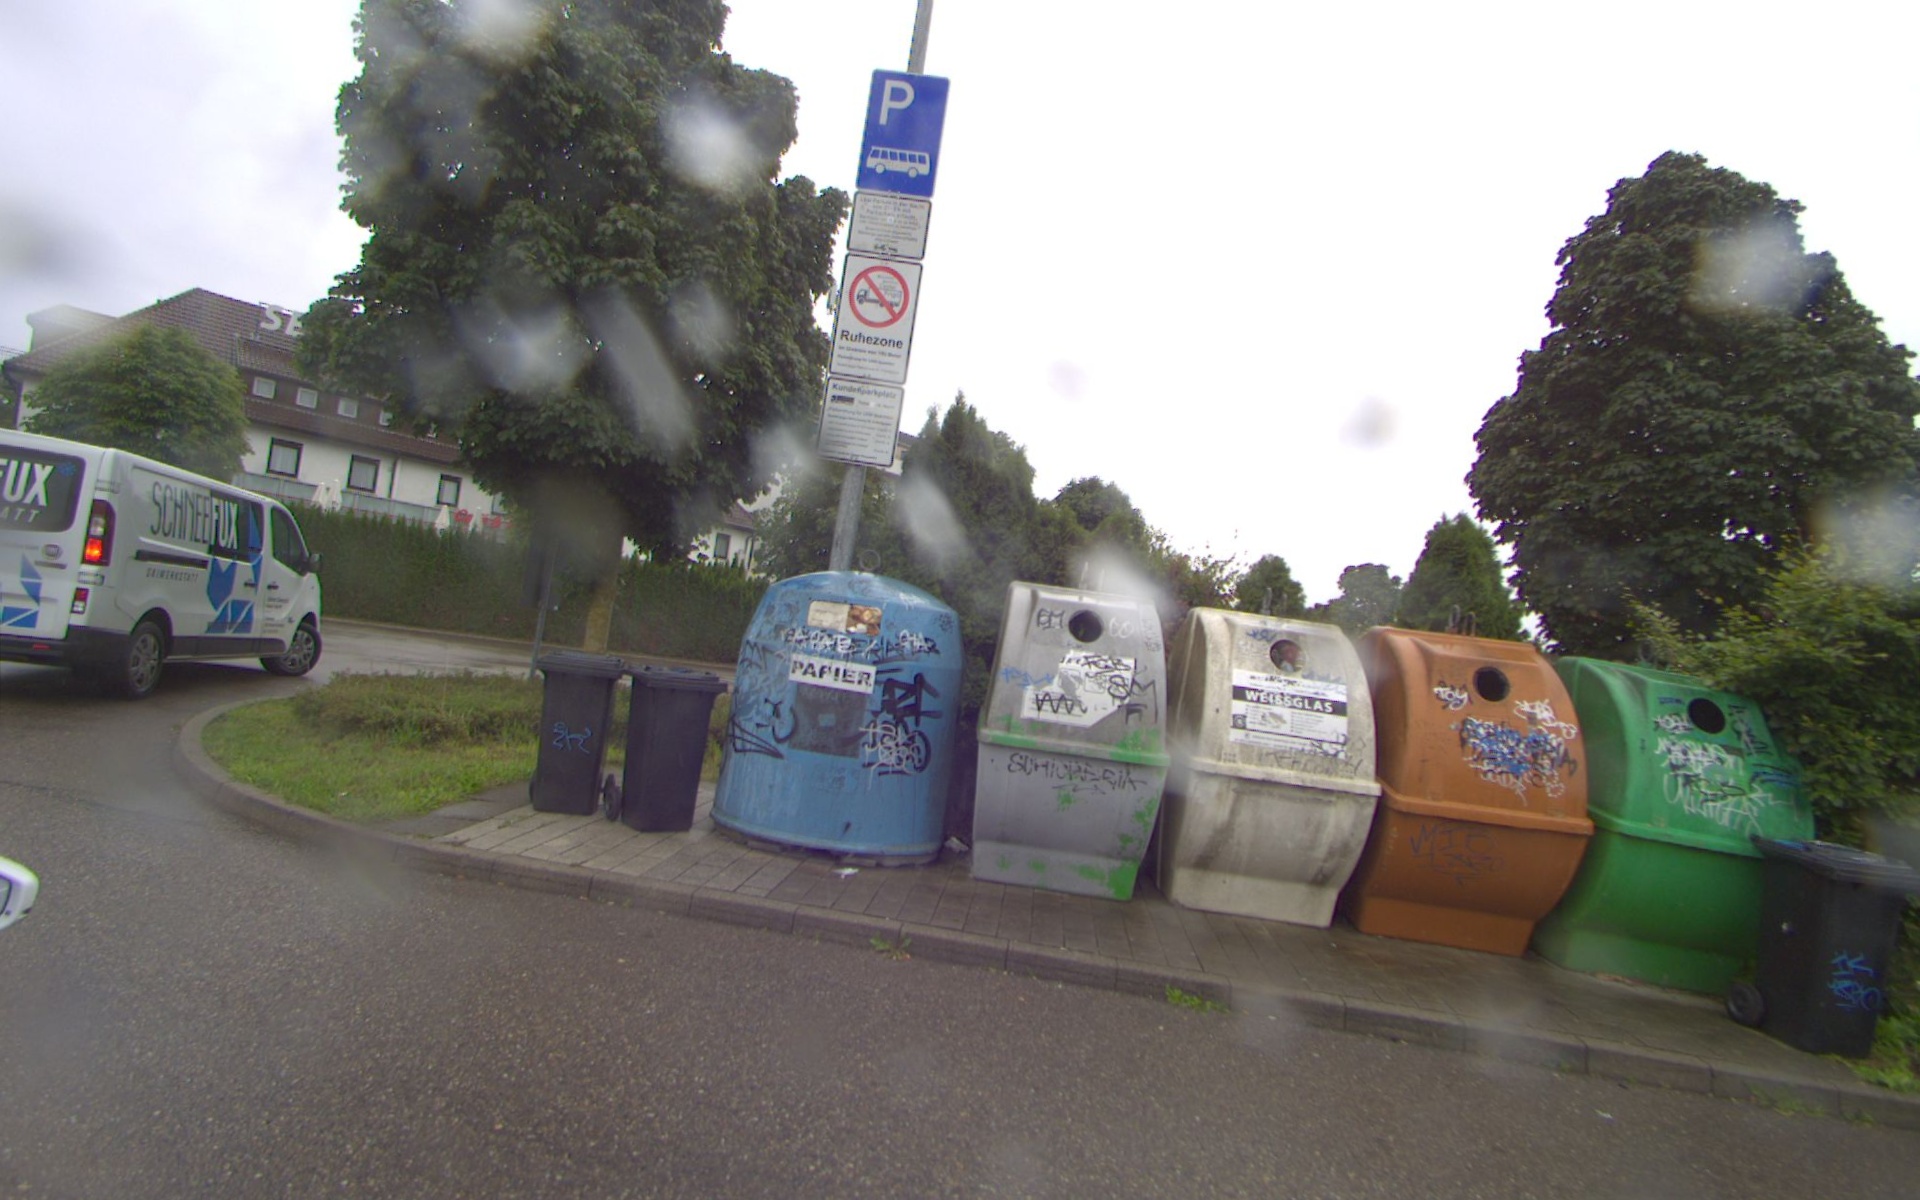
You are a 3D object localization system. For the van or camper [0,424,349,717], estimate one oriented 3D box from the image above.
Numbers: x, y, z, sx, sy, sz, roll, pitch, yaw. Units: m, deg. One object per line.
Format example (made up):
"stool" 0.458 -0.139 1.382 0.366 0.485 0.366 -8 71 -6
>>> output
"van or camper" -7.885 -0.296 9.386 2.162 1.966 5.184 9 -3 -15

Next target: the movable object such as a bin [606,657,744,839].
"movable object such as a bin" -1.625 0.829 5.757 0.480 0.928 0.449 7 0 28

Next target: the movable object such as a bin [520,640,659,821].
"movable object such as a bin" -2.153 0.744 5.867 0.480 0.950 0.449 7 0 28

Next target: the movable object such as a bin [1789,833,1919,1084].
"movable object such as a bin" 4.095 1.584 4.563 0.410 0.931 0.493 7 -1 39

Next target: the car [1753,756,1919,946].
"car" 9.410 2.439 9.120 1.519 1.528 3.673 8 -3 3
